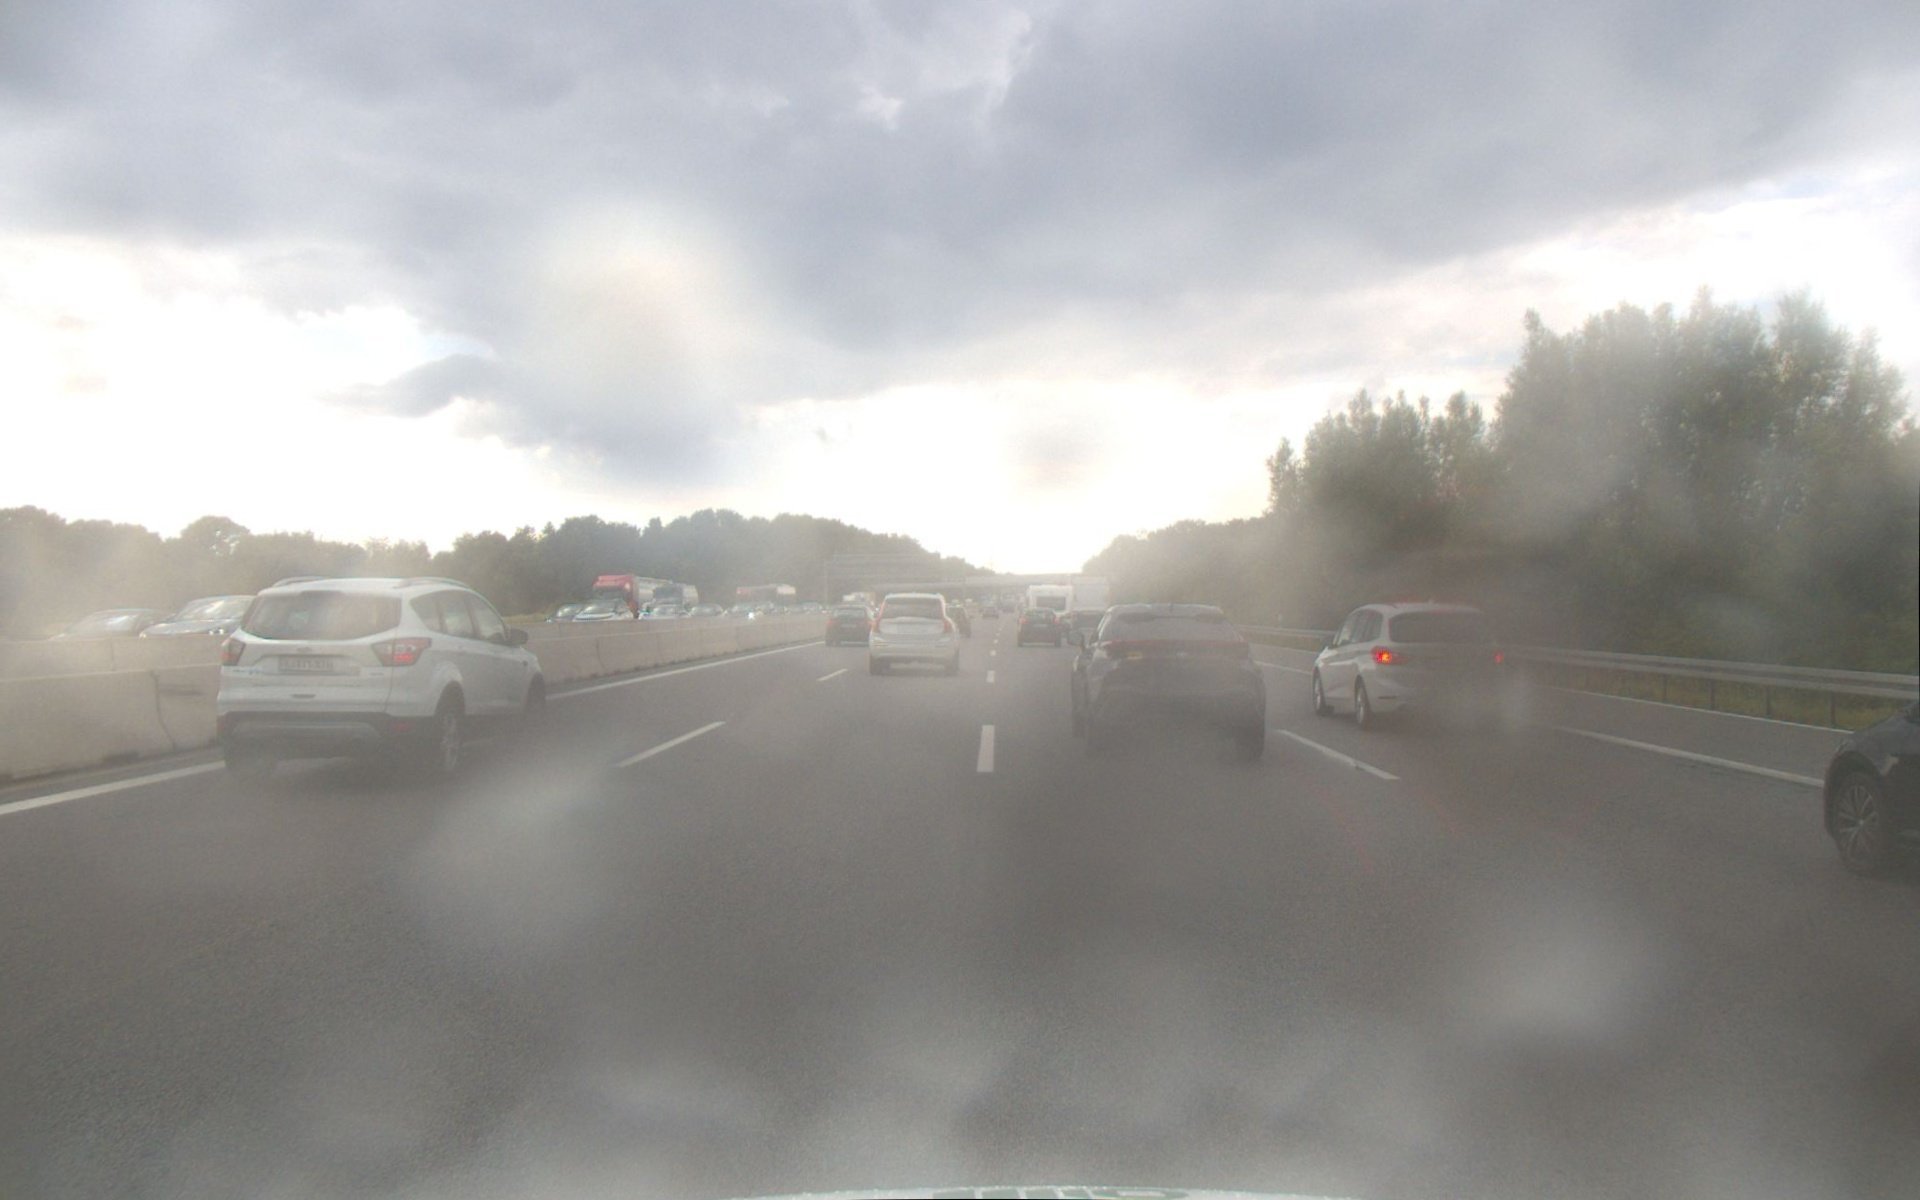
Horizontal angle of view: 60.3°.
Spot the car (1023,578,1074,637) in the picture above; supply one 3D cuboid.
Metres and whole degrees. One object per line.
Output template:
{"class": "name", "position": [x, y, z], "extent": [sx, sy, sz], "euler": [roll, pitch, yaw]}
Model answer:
{"class": "car", "position": [4.585, 0.388, 86.821], "extent": [2.514, 2.946, 7.535], "euler": [0, 0, 2]}

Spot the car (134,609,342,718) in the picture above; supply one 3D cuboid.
{"class": "car", "position": [-14.613, 1.215, 33.837], "extent": [1.952, 2.049, 5.181], "euler": [0, 0, 0]}

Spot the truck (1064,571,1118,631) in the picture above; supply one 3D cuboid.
{"class": "truck", "position": [8.519, 0.079, 108.559], "extent": [3.068, 3.774, 9.849], "euler": [0, 0, 2]}

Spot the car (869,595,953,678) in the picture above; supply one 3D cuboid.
{"class": "car", "position": [-1.047, 0.783, 37.330], "extent": [1.744, 1.746, 4.352], "euler": [0, 0, 0]}

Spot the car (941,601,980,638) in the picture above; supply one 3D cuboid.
{"class": "car", "position": [0.027, 0.918, 79.666], "extent": [1.842, 1.715, 4.000], "euler": [0, 0, 0]}

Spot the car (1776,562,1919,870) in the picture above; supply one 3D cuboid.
{"class": "car", "position": [6.010, 0.627, 8.319], "extent": [1.672, 1.659, 4.457], "euler": [0, 0, 1]}

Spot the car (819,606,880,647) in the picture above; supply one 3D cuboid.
{"class": "car", "position": [-4.108, 0.968, 62.052], "extent": [1.743, 1.507, 4.354], "euler": [0, 0, 3]}

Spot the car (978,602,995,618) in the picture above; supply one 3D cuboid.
{"class": "car", "position": [3.005, 1.137, 185.637], "extent": [1.842, 1.715, 4.000], "euler": [0, 0, 0]}

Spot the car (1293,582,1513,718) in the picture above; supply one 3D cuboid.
{"class": "car", "position": [5.811, 0.615, 22.261], "extent": [1.773, 1.627, 4.696], "euler": [0, 0, 1]}

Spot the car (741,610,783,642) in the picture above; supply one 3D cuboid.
{"class": "car", "position": [-12.818, 1.673, 107.354], "extent": [1.952, 2.001, 4.697], "euler": [0, 0, 2]}

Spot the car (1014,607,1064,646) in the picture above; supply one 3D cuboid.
{"class": "car", "position": [3.019, 1.008, 63.745], "extent": [1.846, 1.431, 4.283], "euler": [0, 0, 2]}

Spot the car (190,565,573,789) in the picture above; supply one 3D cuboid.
{"class": "car", "position": [-5.036, 0.591, 15.201], "extent": [1.778, 1.719, 4.852], "euler": [0, 0, 0]}

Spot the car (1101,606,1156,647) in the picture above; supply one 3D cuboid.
{"class": "car", "position": [6.290, 0.973, 62.083], "extent": [1.758, 1.503, 4.038], "euler": [0, 0, 2]}

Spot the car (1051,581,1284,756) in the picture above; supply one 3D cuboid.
{"class": "car", "position": [2.093, 0.658, 17.918], "extent": [1.745, 1.641, 4.595], "euler": [0, 0, -3]}
